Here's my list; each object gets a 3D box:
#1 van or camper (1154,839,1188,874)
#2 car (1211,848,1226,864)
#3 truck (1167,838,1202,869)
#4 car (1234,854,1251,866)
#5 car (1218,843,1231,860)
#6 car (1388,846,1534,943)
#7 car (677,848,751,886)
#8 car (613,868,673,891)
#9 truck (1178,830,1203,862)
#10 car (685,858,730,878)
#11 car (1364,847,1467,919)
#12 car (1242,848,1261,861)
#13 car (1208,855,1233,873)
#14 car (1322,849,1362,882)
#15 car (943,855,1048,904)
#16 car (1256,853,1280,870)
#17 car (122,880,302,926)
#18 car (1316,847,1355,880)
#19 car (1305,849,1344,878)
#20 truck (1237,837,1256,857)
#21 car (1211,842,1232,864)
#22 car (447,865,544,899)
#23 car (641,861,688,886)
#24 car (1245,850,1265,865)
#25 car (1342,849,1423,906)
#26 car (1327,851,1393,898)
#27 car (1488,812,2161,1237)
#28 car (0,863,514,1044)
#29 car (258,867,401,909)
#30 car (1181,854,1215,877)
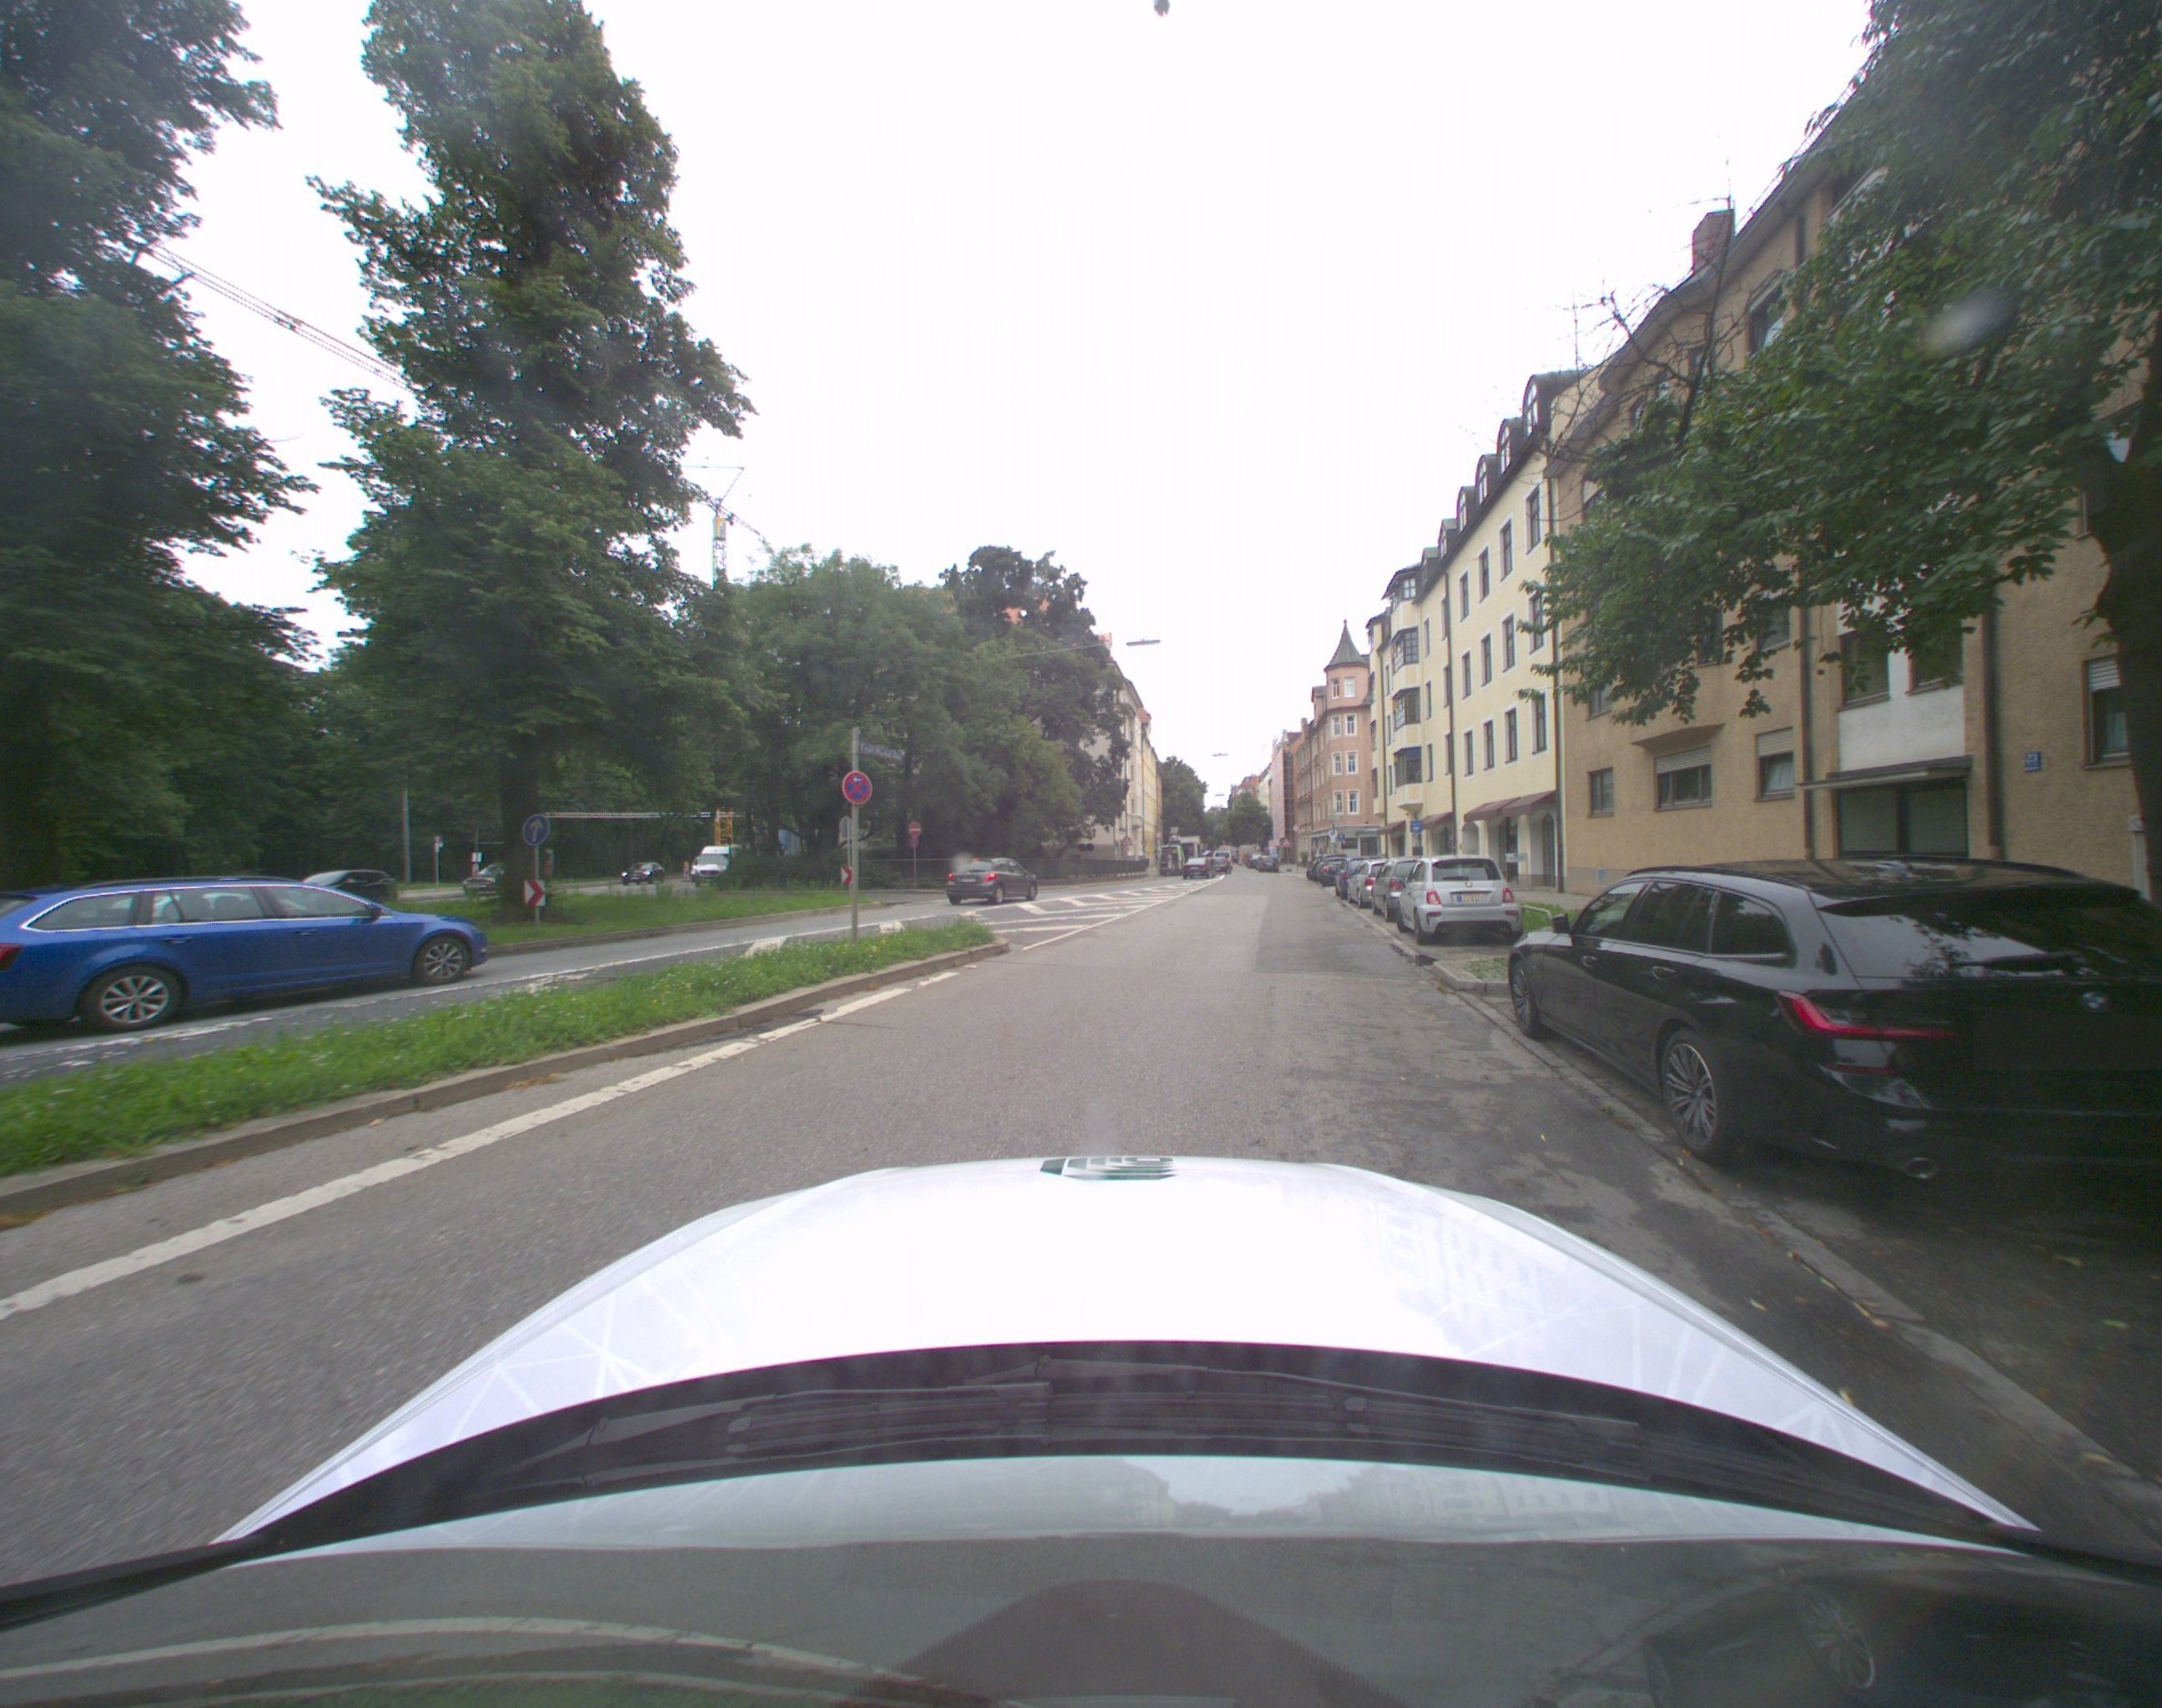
[{"bbox_3d":[7.932,0.134,71.162,2.584,2.840,6.203,-1,1,10],"label":"van or camper"},{"bbox_3d":[18.900,0.261,112.210,1.982,2.013,4.010,-1,0,9],"label":"car"},{"bbox_3d":[10.428,-0.085,81.447,2.755,2.873,7.226,-1,1,12],"label":"truck"},{"bbox_3d":[21.127,0.733,106.647,1.978,1.429,4.152,-1,1,10],"label":"car"},{"bbox_3d":[22.031,-0.407,124.917,1.927,2.480,4.797,-1,0,11],"label":"car"},{"bbox_3d":[6.746,0.654,14.844,1.616,1.496,3.834,-2,0,13],"label":"car"},{"bbox_3d":[-23.477,0.820,52.374,2.293,2.270,5.129,-1,0,1],"label":"car"},{"bbox_3d":[-31.361,1.831,58.452,1.885,1.446,4.389,-2,0,1],"label":"car"},{"bbox_3d":[13.995,-1.001,104.319,2.995,3.951,7.011,-1,0,8],"label":"truck"},{"bbox_3d":[-28.639,1.032,62.614,1.890,1.446,4.289,-1,0,-7],"label":"car"},{"bbox_3d":[7.842,0.619,19.399,1.616,1.496,3.800,-2,0,13],"label":"car"},{"bbox_3d":[20.230,-0.012,96.851,1.978,1.429,4.152,-1,1,10],"label":"car"},{"bbox_3d":[11.887,0.827,69.220,1.978,1.429,4.152,-1,1,10],"label":"car"},{"bbox_3d":[13.157,0.557,41.195,1.743,1.496,3.839,-3,0,16],"label":"car"},{"bbox_3d":[-2.686,0.786,26.630,1.744,1.461,4.095,-1,0,20],"label":"car"},{"bbox_3d":[17.088,0.675,74.562,1.834,1.429,4.193,2,1,8],"label":"car"},{"bbox_3d":[-32.821,1.803,30.984,1.986,1.446,4.424,-2,0,1],"label":"car"},{"bbox_3d":[14.442,0.504,46.402,1.744,1.679,4.723,-2,0,13],"label":"car"},{"bbox_3d":[15.370,0.574,51.612,1.807,1.679,4.524,-2,0,11],"label":"car"},{"bbox_3d":[24.900,-1.028,122.576,2.477,2.973,5.341,-1,0,9],"label":"truck"},{"bbox_3d":[14.166,-0.161,81.924,1.978,2.075,4.152,-1,1,10],"label":"car"},{"bbox_3d":[-32.999,1.532,46.107,1.986,1.718,4.649,-2,0,1],"label":"car"},{"bbox_3d":[-33.281,1.519,65.140,1.741,1.874,3.998,-1,0,-1],"label":"car"},{"bbox_3d":[18.972,0.357,89.069,1.834,1.429,4.316,2,1,8],"label":"car"},{"bbox_3d":[8.856,0.633,24.264,1.678,1.496,4.450,-2,0,13],"label":"car"},{"bbox_3d":[9.879,0.677,29.126,1.744,1.496,4.503,-2,0,13],"label":"car"},{"bbox_3d":[4.148,0.622,5.090,1.779,1.497,4.391,-4,-1,12],"label":"car"},{"bbox_3d":[-9.392,0.877,9.105,1.971,1.454,4.756,-1,0,17],"label":"car"},{"bbox_3d":[-29.789,1.292,32.461,1.885,1.446,4.034,-2,0,1],"label":"car"},{"bbox_3d":[8.357,0.777,57.970,1.976,1.429,4.923,-1,1,13],"label":"car"}]
